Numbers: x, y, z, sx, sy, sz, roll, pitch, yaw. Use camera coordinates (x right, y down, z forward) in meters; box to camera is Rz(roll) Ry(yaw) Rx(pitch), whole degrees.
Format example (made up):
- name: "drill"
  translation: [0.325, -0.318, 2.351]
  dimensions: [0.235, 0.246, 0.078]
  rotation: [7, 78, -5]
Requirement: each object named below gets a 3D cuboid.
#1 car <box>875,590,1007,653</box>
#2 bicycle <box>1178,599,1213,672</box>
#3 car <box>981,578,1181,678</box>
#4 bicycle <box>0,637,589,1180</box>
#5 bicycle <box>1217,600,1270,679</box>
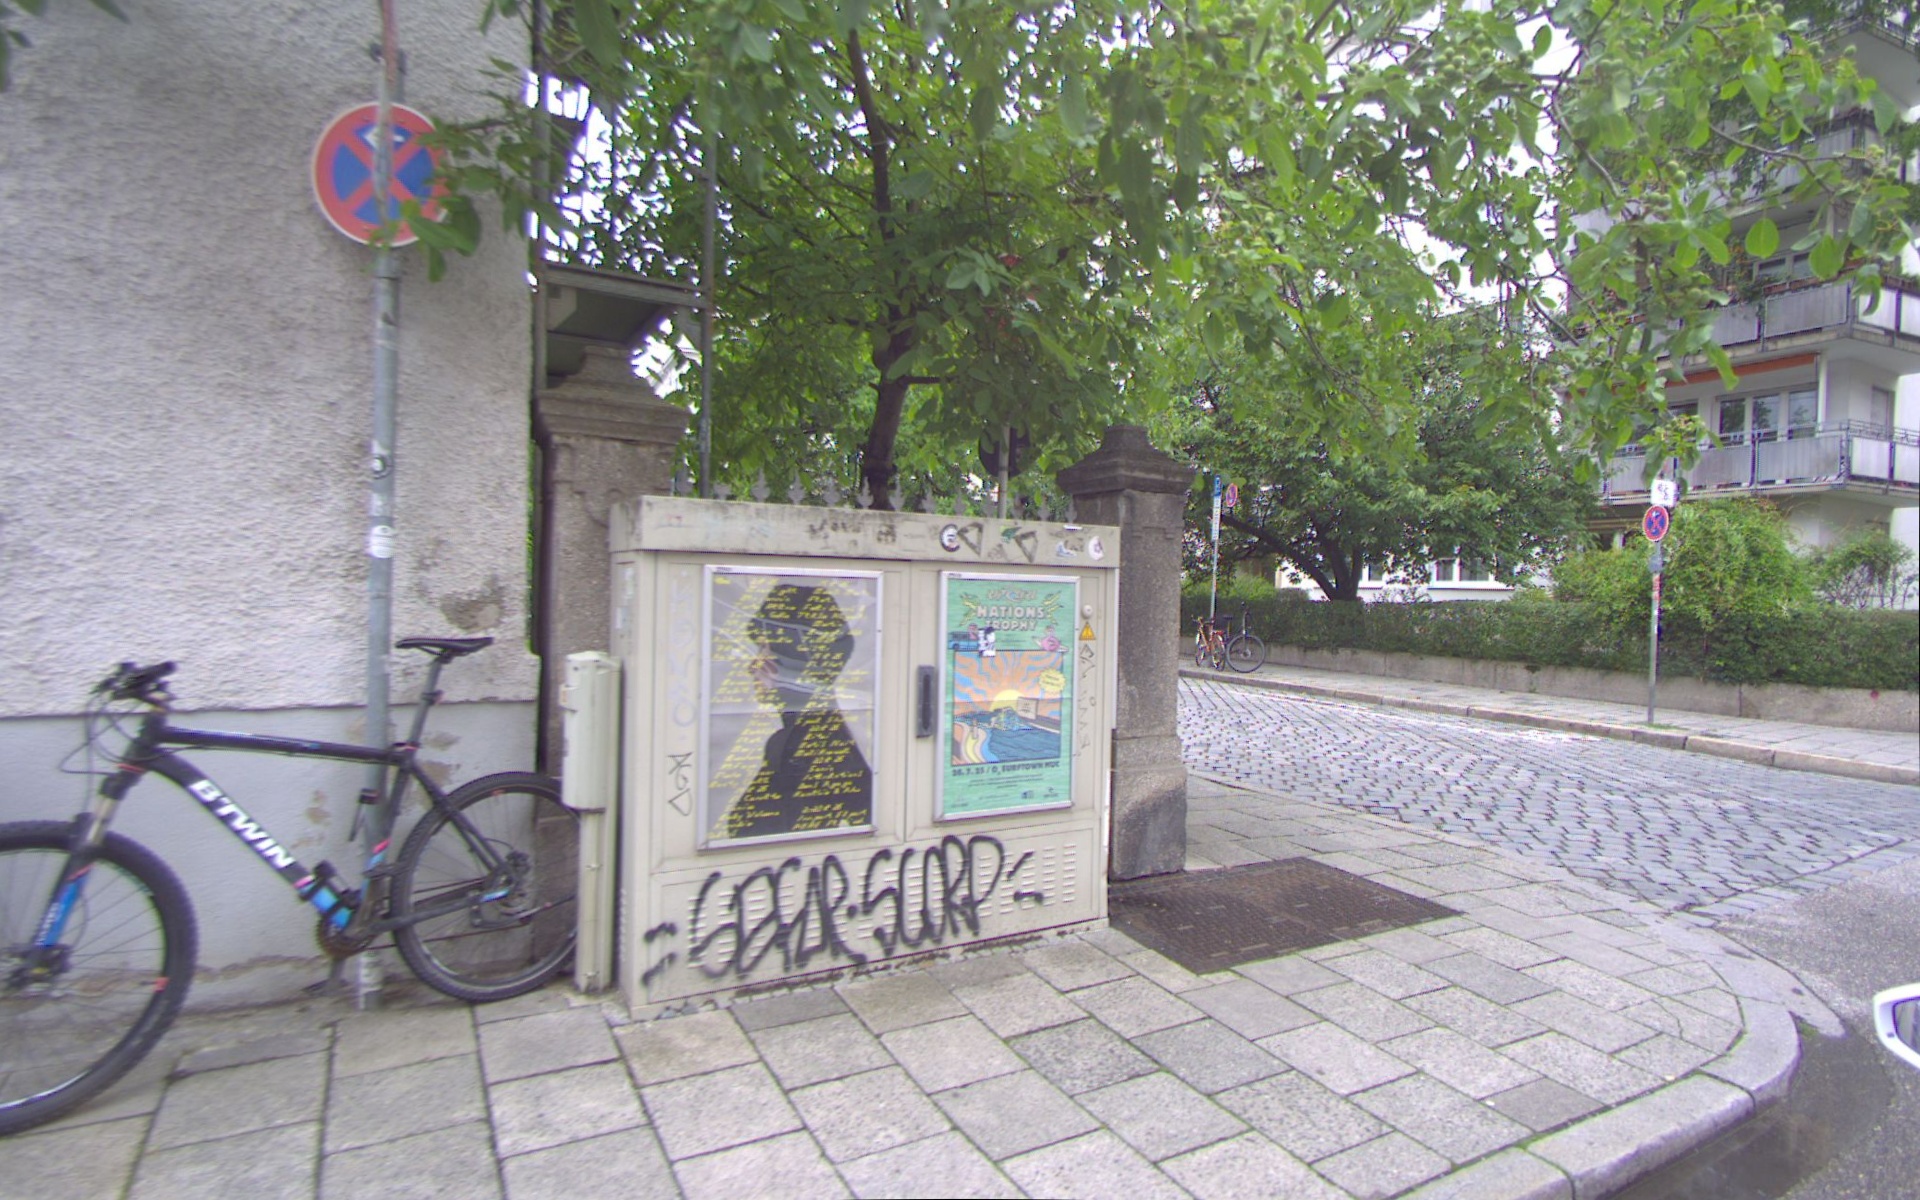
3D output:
- name: "car"
  translation: [-0.550, 0.470, 24.300]
  dimensions: [1.609, 1.335, 3.972]
  rotation: [1, 1, -27]
- name: "bicycle"
  translation: [4.491, 0.643, 19.127]
  dimensions: [0.576, 1.260, 2.167]
  rotation: [2, 1, 14]
- name: "car"
  translation: [2.204, 0.469, 19.380]
  dimensions: [1.744, 1.666, 4.023]
  rotation: [3, 0, -30]
- name: "bicycle"
  translation: [-1.926, 0.685, 2.641]
  dimensions: [0.467, 1.126, 1.750]
  rotation: [3, 1, 42]
- name: "bicycle"
  translation: [5.165, 0.682, 18.431]
  dimensions: [0.675, 1.260, 2.307]
  rotation: [1, 2, 10]
